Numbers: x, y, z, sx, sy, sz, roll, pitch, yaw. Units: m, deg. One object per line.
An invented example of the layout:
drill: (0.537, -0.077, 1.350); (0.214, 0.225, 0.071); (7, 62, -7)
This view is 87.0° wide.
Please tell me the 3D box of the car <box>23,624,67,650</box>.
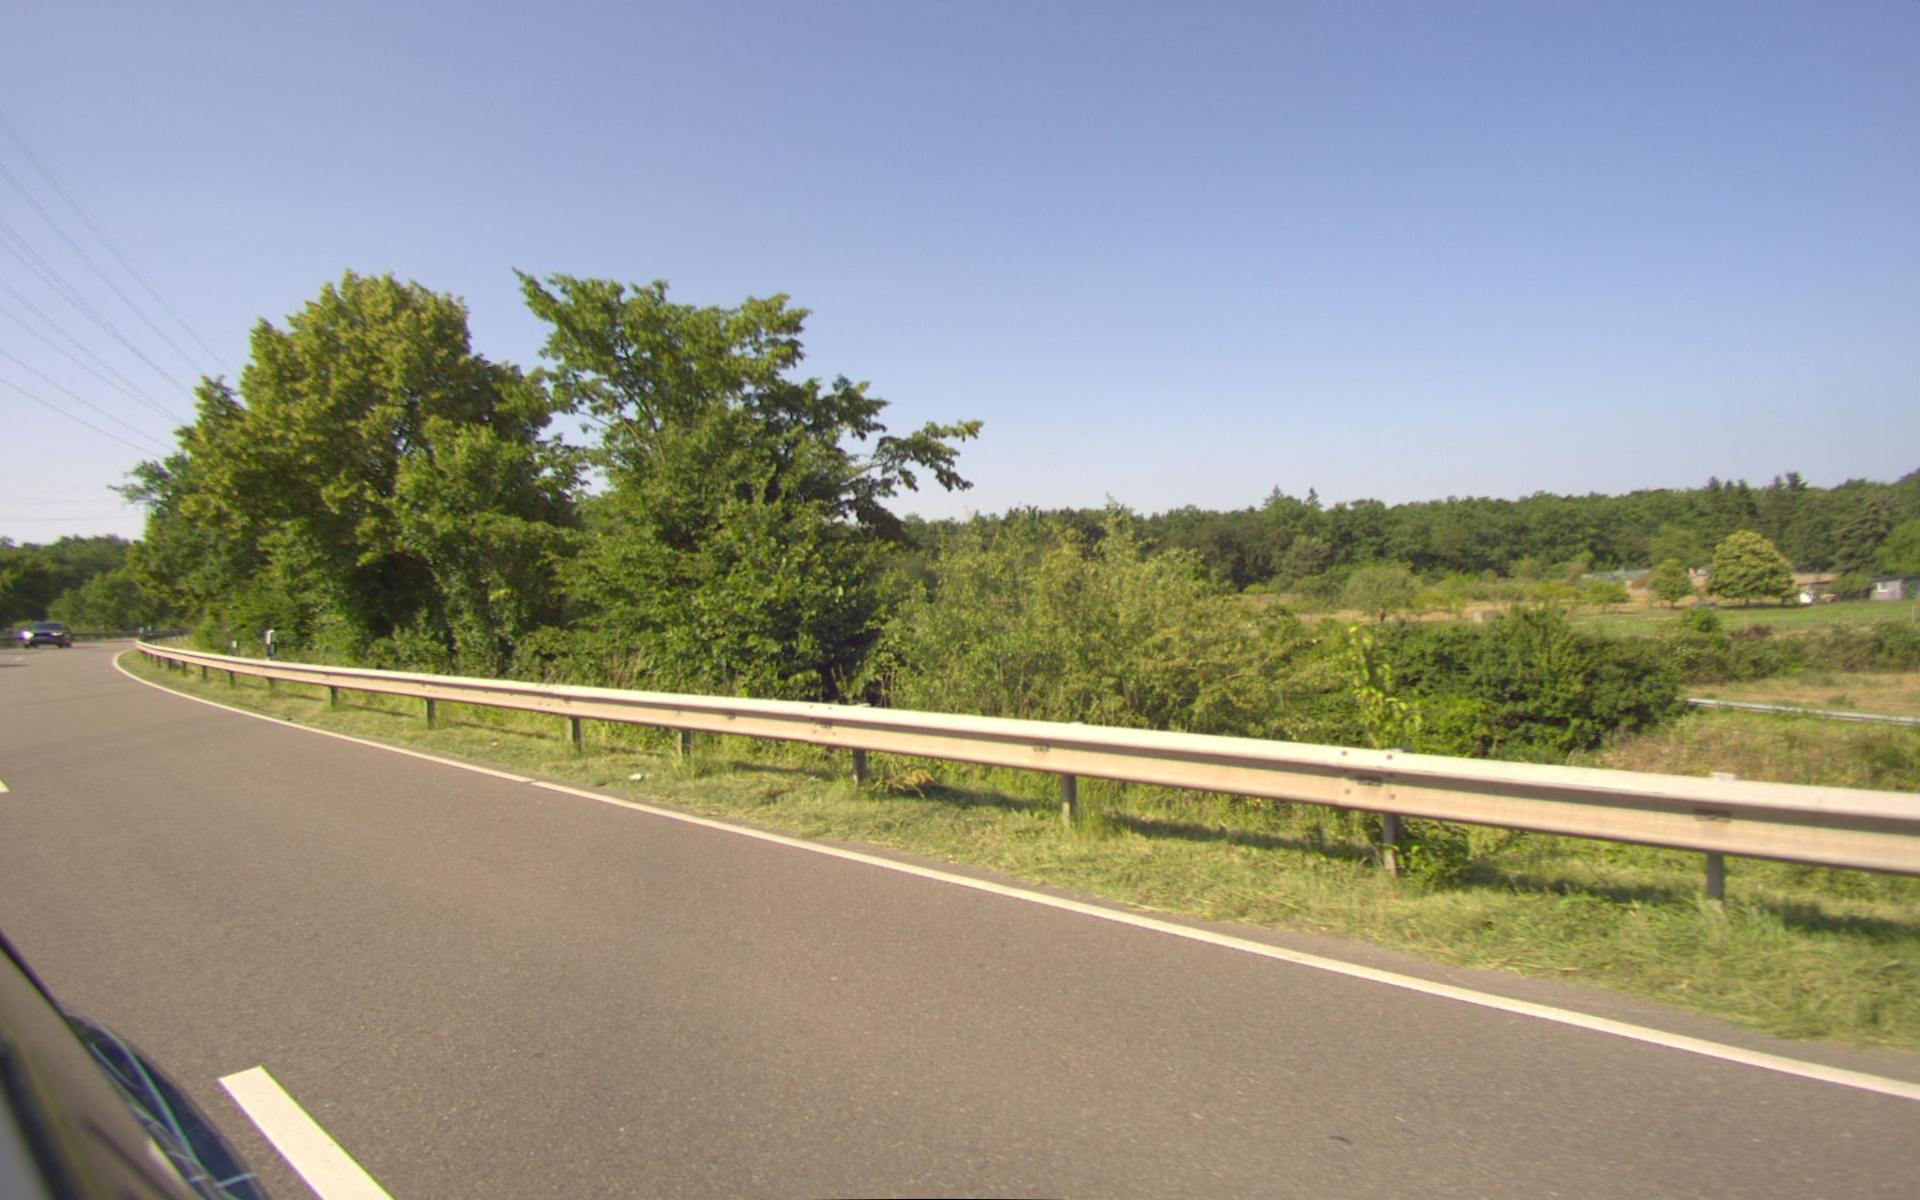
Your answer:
car: (-57.858, 2.321, 64.038); (1.581, 1.506, 4.010); (-1, 0, -35)
